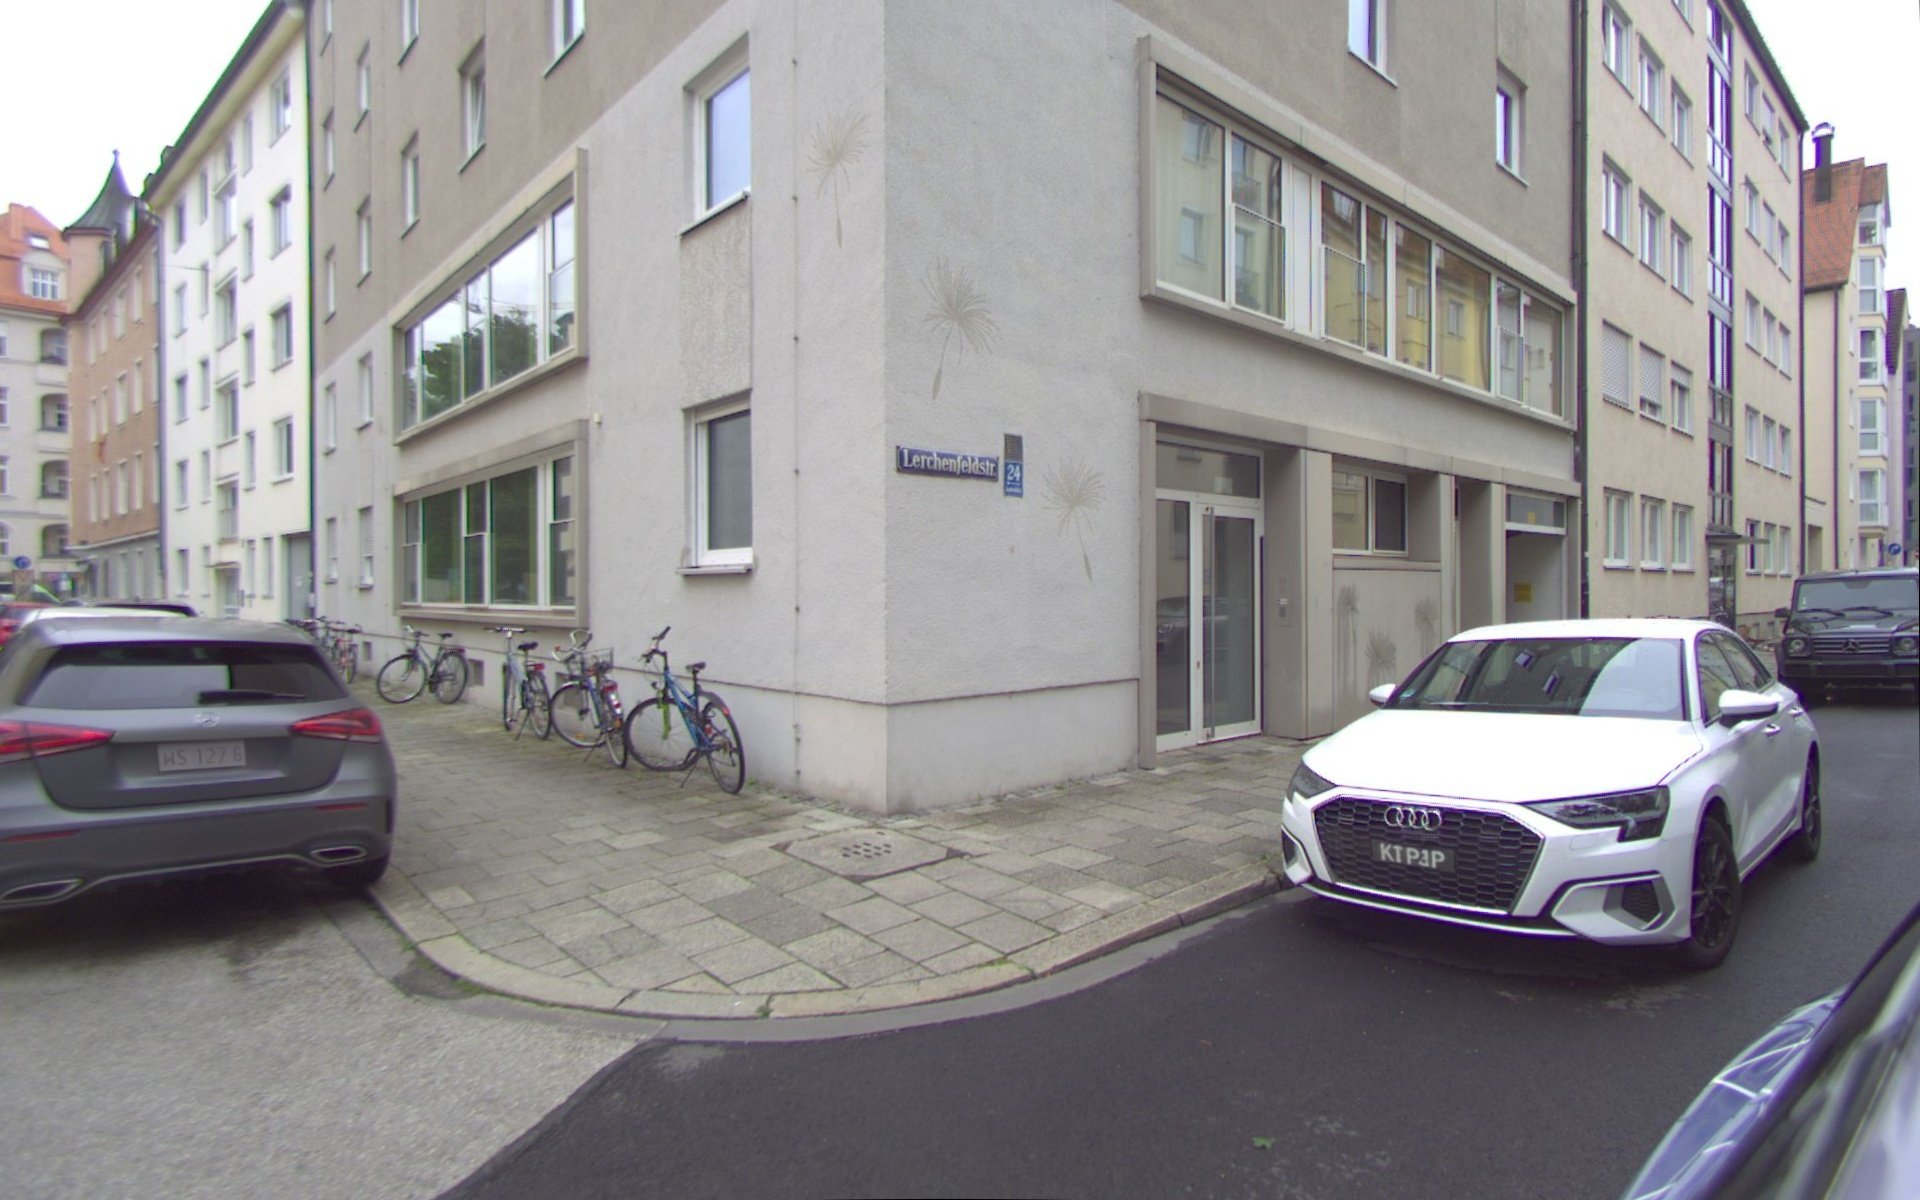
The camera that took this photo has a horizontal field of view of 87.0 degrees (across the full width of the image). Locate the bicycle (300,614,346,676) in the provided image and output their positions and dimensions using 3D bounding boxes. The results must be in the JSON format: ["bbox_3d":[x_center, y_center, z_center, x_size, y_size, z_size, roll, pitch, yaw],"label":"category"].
[{"bbox_3d":[-12.270,0.835,19.471,0.457,1.130,1.799,-1,0,-42],"label":"bicycle"}]

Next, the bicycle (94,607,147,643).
[{"bbox_3d":[-27.886,0.824,33.647,0.455,1.130,2.037,-1,0,-12],"label":"bicycle"}]

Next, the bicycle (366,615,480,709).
[{"bbox_3d":[-7.189,0.783,13.502,0.865,1.130,2.050,-1,0,-42],"label":"bicycle"}]

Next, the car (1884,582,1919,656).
[{"bbox_3d":[21.886,0.374,22.492,4.175,1.504,1.712,-2,0,-44],"label":"car"}]

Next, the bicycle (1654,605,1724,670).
[{"bbox_3d":[13.316,0.665,18.477,1.767,1.041,0.645,-2,5,-43],"label":"bicycle"}]

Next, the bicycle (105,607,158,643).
[{"bbox_3d":[-27.385,0.805,33.486,0.455,1.130,2.037,-1,0,-12],"label":"bicycle"}]

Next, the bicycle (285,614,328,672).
[{"bbox_3d":[-13.495,0.866,20.875,0.457,1.130,1.799,-1,0,-42],"label":"bicycle"}]

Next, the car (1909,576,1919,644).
[{"bbox_3d":[25.286,0.190,25.510,4.174,1.628,1.713,-2,0,-43],"label":"car"}]

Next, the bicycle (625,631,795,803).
[{"bbox_3d":[-1.946,0.818,7.707,0.457,1.130,1.799,-1,0,-42],"label":"bicycle"}]

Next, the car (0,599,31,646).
[{"bbox_3d":[-33.034,0.759,34.479,3.870,1.534,1.709,-1,-2,43],"label":"car"}]

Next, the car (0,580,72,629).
[{"bbox_3d":[-52.364,0.283,55.059,1.992,2.577,5.901,-2,0,43],"label":"car"}]

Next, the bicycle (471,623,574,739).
[{"bbox_3d":[-4.718,0.820,10.860,0.457,1.130,1.799,-1,0,-42],"label":"bicycle"}]

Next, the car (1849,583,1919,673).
[{"bbox_3d":[17.957,0.454,18.883,4.175,1.504,1.712,-2,0,-44],"label":"car"}]

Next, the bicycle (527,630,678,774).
[{"bbox_3d":[-3.265,0.856,9.137,0.639,1.130,1.799,-1,0,-42],"label":"bicycle"}]

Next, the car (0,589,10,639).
[{"bbox_3d":[-37.119,0.529,38.049,4.093,1.816,1.709,-1,-2,43],"label":"car"}]

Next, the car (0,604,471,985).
[{"bbox_3d":[-4.629,0.765,5.909,1.967,1.417,4.207,2,-1,-44],"label":"car"}]

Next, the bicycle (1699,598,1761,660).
[{"bbox_3d":[15.550,0.560,20.427,1.731,1.119,0.655,-2,5,-43],"label":"bicycle"}]

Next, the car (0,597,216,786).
[{"bbox_3d":[-8.221,0.753,9.539,1.539,1.454,3.349,6,-3,-42],"label":"car"}]

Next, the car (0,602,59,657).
[{"bbox_3d":[-27.919,0.851,29.773,3.870,1.534,1.709,-1,-2,43],"label":"car"}]

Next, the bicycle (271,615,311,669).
[{"bbox_3d":[-14.715,0.903,22.242,0.457,1.130,1.799,-1,0,-42],"label":"bicycle"}]

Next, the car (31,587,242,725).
[{"bbox_3d":[-10.868,0.669,13.278,3.662,1.547,1.542,1,-3,43],"label":"car"}]

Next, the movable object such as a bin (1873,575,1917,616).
[{"bbox_3d":[34.537,-0.192,37.382,1.560,1.440,1.034,-2,3,-42],"label":"movable object such as a bin"}]

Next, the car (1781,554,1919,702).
[{"bbox_3d":[14.184,0.387,15.643,4.271,2.001,1.751,0,-2,-44],"label":"car"}]

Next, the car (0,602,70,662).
[{"bbox_3d":[-24.176,0.801,25.904,3.661,1.436,1.709,-1,-2,43],"label":"car"}]

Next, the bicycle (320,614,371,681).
[{"bbox_3d":[-11.010,0.828,18.103,0.457,1.130,1.799,-1,0,-42],"label":"bicycle"}]

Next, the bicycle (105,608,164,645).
[{"bbox_3d":[-26.462,0.841,32.466,0.595,1.130,2.037,-1,0,-12],"label":"bicycle"}]

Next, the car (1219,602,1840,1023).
[{"bbox_3d":[3.308,0.758,5.545,3.884,1.426,1.821,-1,-1,-42],"label":"car"}]

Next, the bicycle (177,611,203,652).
[{"bbox_3d":[-22.176,0.887,29.134,0.457,1.130,1.799,-1,0,-42],"label":"bicycle"}]
